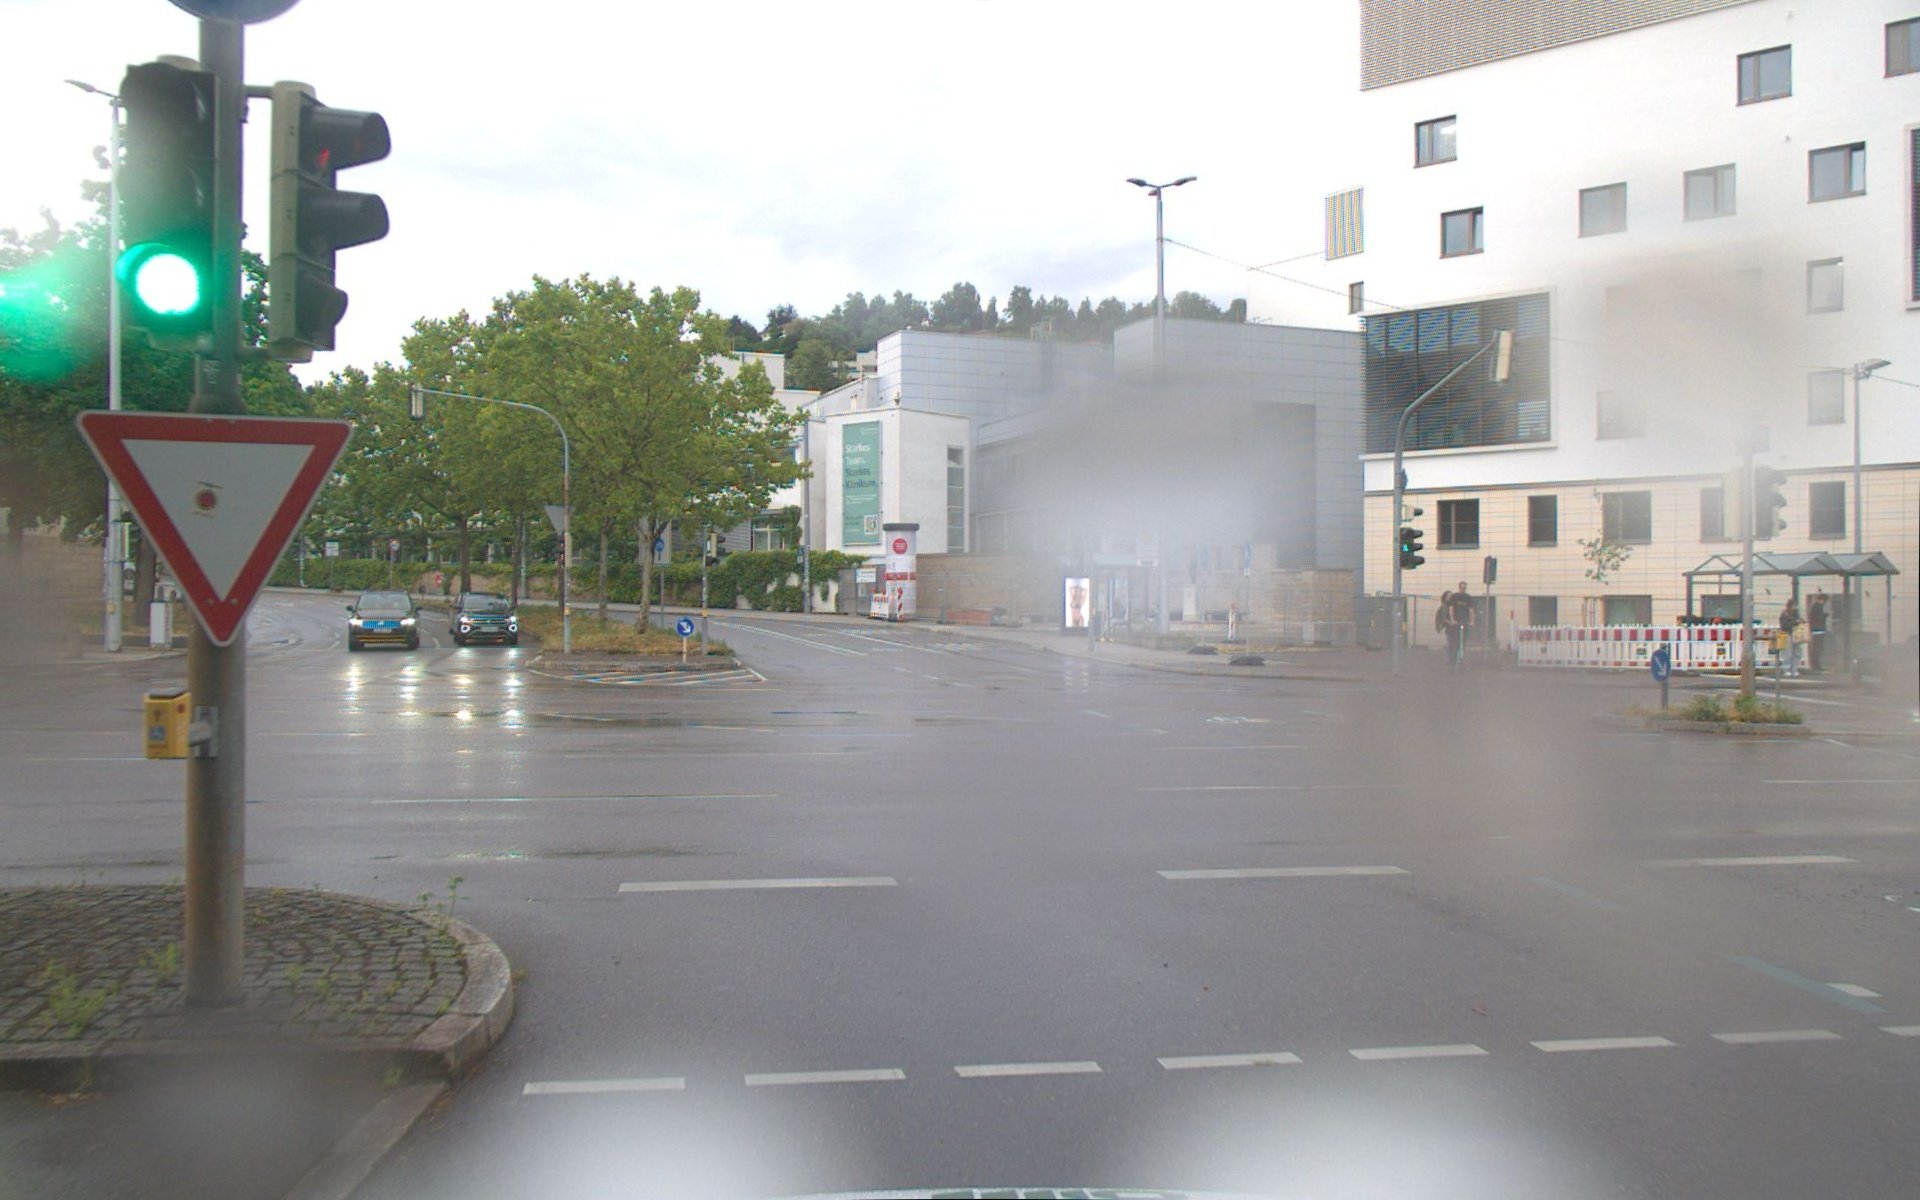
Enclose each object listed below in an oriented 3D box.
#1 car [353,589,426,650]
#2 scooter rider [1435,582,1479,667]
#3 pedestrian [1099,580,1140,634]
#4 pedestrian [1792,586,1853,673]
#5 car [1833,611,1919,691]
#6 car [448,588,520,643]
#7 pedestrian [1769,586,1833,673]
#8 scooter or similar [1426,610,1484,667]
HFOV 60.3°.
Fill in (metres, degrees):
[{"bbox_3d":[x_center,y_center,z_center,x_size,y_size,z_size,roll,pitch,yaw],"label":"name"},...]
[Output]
[{"bbox_3d":[-16.309,0.514,47.429,1.838,1.592,4.255,0,1,-17],"label":"car"},{"bbox_3d":[11.380,0.561,37.897,0.713,1.916,0.628,2,-2,-21],"label":"scooter rider"},{"bbox_3d":[5.352,0.248,55.522,1.232,1.749,1.016,2,-2,-2],"label":"pedestrian"},{"bbox_3d":[20.003,0.677,38.376,0.980,1.969,0.955,1,-2,9],"label":"pedestrian"},{"bbox_3d":[19.229,1.015,32.053,3.921,1.469,1.790,2,0,-15],"label":"car"},{"bbox_3d":[-14.811,0.452,51.393,1.764,1.612,3.974,0,0,-22],"label":"car"},{"bbox_3d":[18.487,0.647,36.349,0.934,1.872,0.821,2,-2,-12],"label":"pedestrian"},{"bbox_3d":[11.347,0.884,37.929,0.582,1.260,1.305,2,-2,-21],"label":"scooter or similar"}]
